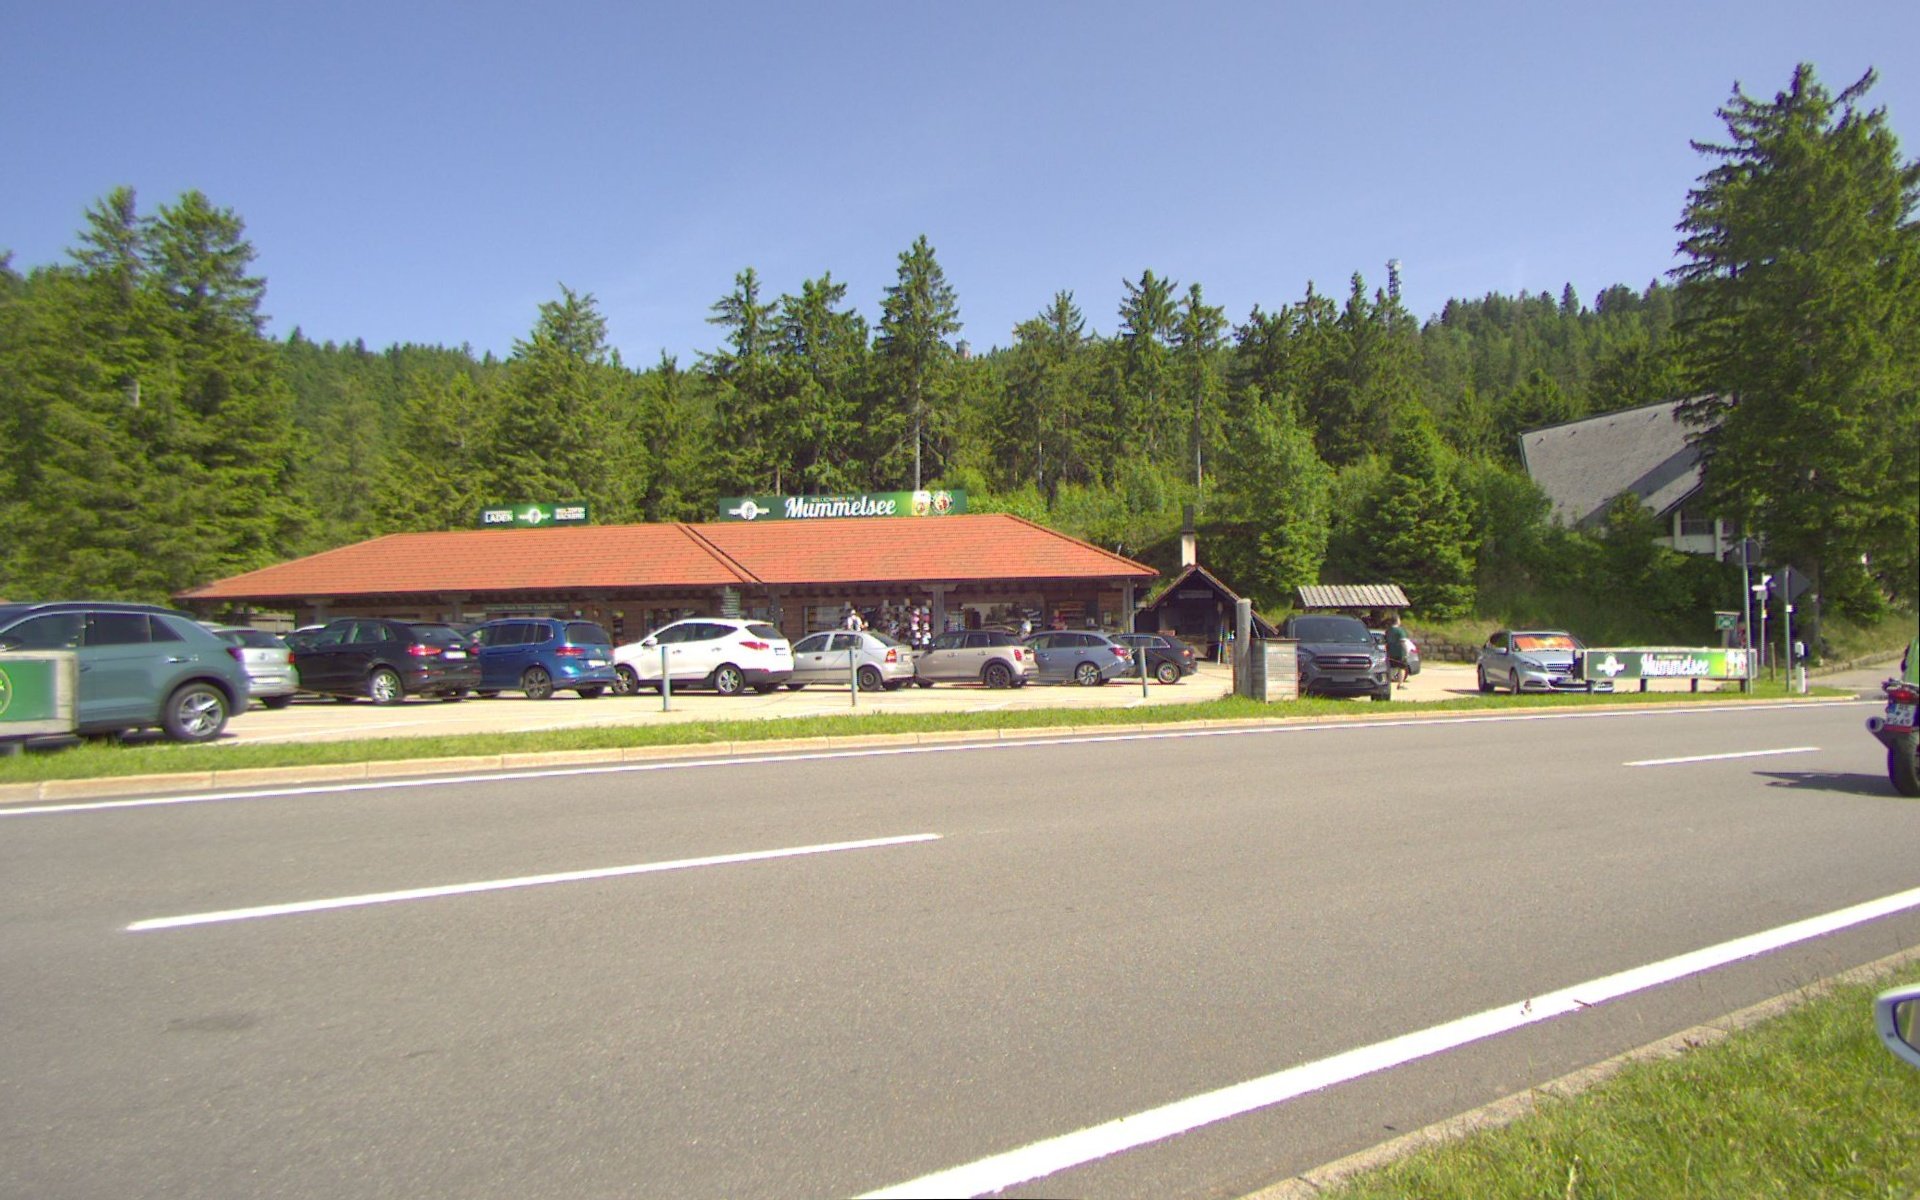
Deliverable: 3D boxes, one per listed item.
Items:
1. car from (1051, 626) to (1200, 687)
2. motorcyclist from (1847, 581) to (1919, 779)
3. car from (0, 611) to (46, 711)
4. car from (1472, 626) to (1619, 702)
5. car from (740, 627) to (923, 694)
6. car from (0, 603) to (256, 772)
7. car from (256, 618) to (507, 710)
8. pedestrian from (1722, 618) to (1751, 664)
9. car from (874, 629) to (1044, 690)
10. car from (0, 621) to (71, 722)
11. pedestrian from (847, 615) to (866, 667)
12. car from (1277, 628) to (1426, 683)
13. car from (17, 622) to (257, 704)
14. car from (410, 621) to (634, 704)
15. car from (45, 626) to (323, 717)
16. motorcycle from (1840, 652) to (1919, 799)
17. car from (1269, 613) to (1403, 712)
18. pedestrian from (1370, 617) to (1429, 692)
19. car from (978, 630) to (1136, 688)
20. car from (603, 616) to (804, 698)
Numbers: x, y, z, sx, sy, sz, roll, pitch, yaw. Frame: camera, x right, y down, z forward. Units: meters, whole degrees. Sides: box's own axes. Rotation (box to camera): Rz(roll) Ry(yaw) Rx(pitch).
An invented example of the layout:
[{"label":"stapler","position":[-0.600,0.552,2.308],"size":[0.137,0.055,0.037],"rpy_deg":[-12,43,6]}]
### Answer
[{"label":"car","position":[4.779,1.613,28.839],"size":[3.921,1.639,2.000],"rpy_deg":[-2,-2,19]},{"label":"motorcyclist","position":[8.818,0.708,8.921],"size":[1.277,1.697,1.021],"rpy_deg":[2,-1,-29]},{"label":"car","position":[-20.513,1.237,19.701],"size":[3.919,1.929,2.001],"rpy_deg":[-2,-2,14]},{"label":"car","position":[12.470,1.328,21.670],"size":[1.709,1.460,3.973],"rpy_deg":[-2,-2,15]},{"label":"car","position":[-3.032,1.440,23.902],"size":[3.945,1.487,1.778],"rpy_deg":[-2,-3,16]},{"label":"car","position":[-9.697,0.841,10.118],"size":[1.705,1.588,4.061],"rpy_deg":[0,-1,17]},{"label":"car","position":[-10.950,1.210,19.085],"size":[3.920,1.594,2.001],"rpy_deg":[-2,-2,17]},{"label":"pedestrian","position":[26.894,1.416,34.784],"size":[0.546,1.553,0.575],"rpy_deg":[-1,-1,-29]},{"label":"car","position":[-0.014,1.511,25.241],"size":[3.921,1.438,1.685],"rpy_deg":[-2,-3,18]},{"label":"car","position":[-16.660,1.167,16.097],"size":[3.921,1.565,1.900],"rpy_deg":[-2,-2,18]},{"label":"pedestrian","position":[-3.771,1.483,36.653],"size":[0.518,1.898,0.547],"rpy_deg":[0,-1,15]},{"label":"car","position":[11.682,1.670,30.214],"size":[3.919,1.514,1.686],"rpy_deg":[-1,0,12]},{"label":"car","position":[-17.342,1.317,21.232],"size":[3.919,1.594,2.001],"rpy_deg":[-2,-2,14]},{"label":"car","position":[-9.120,1.302,20.999],"size":[3.920,1.594,2.001],"rpy_deg":[-2,-2,17]},{"label":"car","position":[-13.406,1.225,17.422],"size":[3.920,1.438,1.908],"rpy_deg":[-2,-2,17]},{"label":"motorcycle","position":[8.902,1.100,8.983],"size":[2.258,1.192,0.818],"rpy_deg":[3,-1,-29]},{"label":"car","position":[7.041,1.122,19.212],"size":[1.753,1.655,4.214],"rpy_deg":[1,-2,11]},{"label":"pedestrian","position":[10.665,1.299,24.385],"size":[0.949,1.757,0.893],"rpy_deg":[-1,-1,-29]},{"label":"car","position":[2.597,1.582,26.819],"size":[3.921,1.438,1.685],"rpy_deg":[-2,-3,18]},{"label":"car","position":[-5.661,1.281,22.265],"size":[3.950,1.693,1.778],"rpy_deg":[-2,-3,16]}]
